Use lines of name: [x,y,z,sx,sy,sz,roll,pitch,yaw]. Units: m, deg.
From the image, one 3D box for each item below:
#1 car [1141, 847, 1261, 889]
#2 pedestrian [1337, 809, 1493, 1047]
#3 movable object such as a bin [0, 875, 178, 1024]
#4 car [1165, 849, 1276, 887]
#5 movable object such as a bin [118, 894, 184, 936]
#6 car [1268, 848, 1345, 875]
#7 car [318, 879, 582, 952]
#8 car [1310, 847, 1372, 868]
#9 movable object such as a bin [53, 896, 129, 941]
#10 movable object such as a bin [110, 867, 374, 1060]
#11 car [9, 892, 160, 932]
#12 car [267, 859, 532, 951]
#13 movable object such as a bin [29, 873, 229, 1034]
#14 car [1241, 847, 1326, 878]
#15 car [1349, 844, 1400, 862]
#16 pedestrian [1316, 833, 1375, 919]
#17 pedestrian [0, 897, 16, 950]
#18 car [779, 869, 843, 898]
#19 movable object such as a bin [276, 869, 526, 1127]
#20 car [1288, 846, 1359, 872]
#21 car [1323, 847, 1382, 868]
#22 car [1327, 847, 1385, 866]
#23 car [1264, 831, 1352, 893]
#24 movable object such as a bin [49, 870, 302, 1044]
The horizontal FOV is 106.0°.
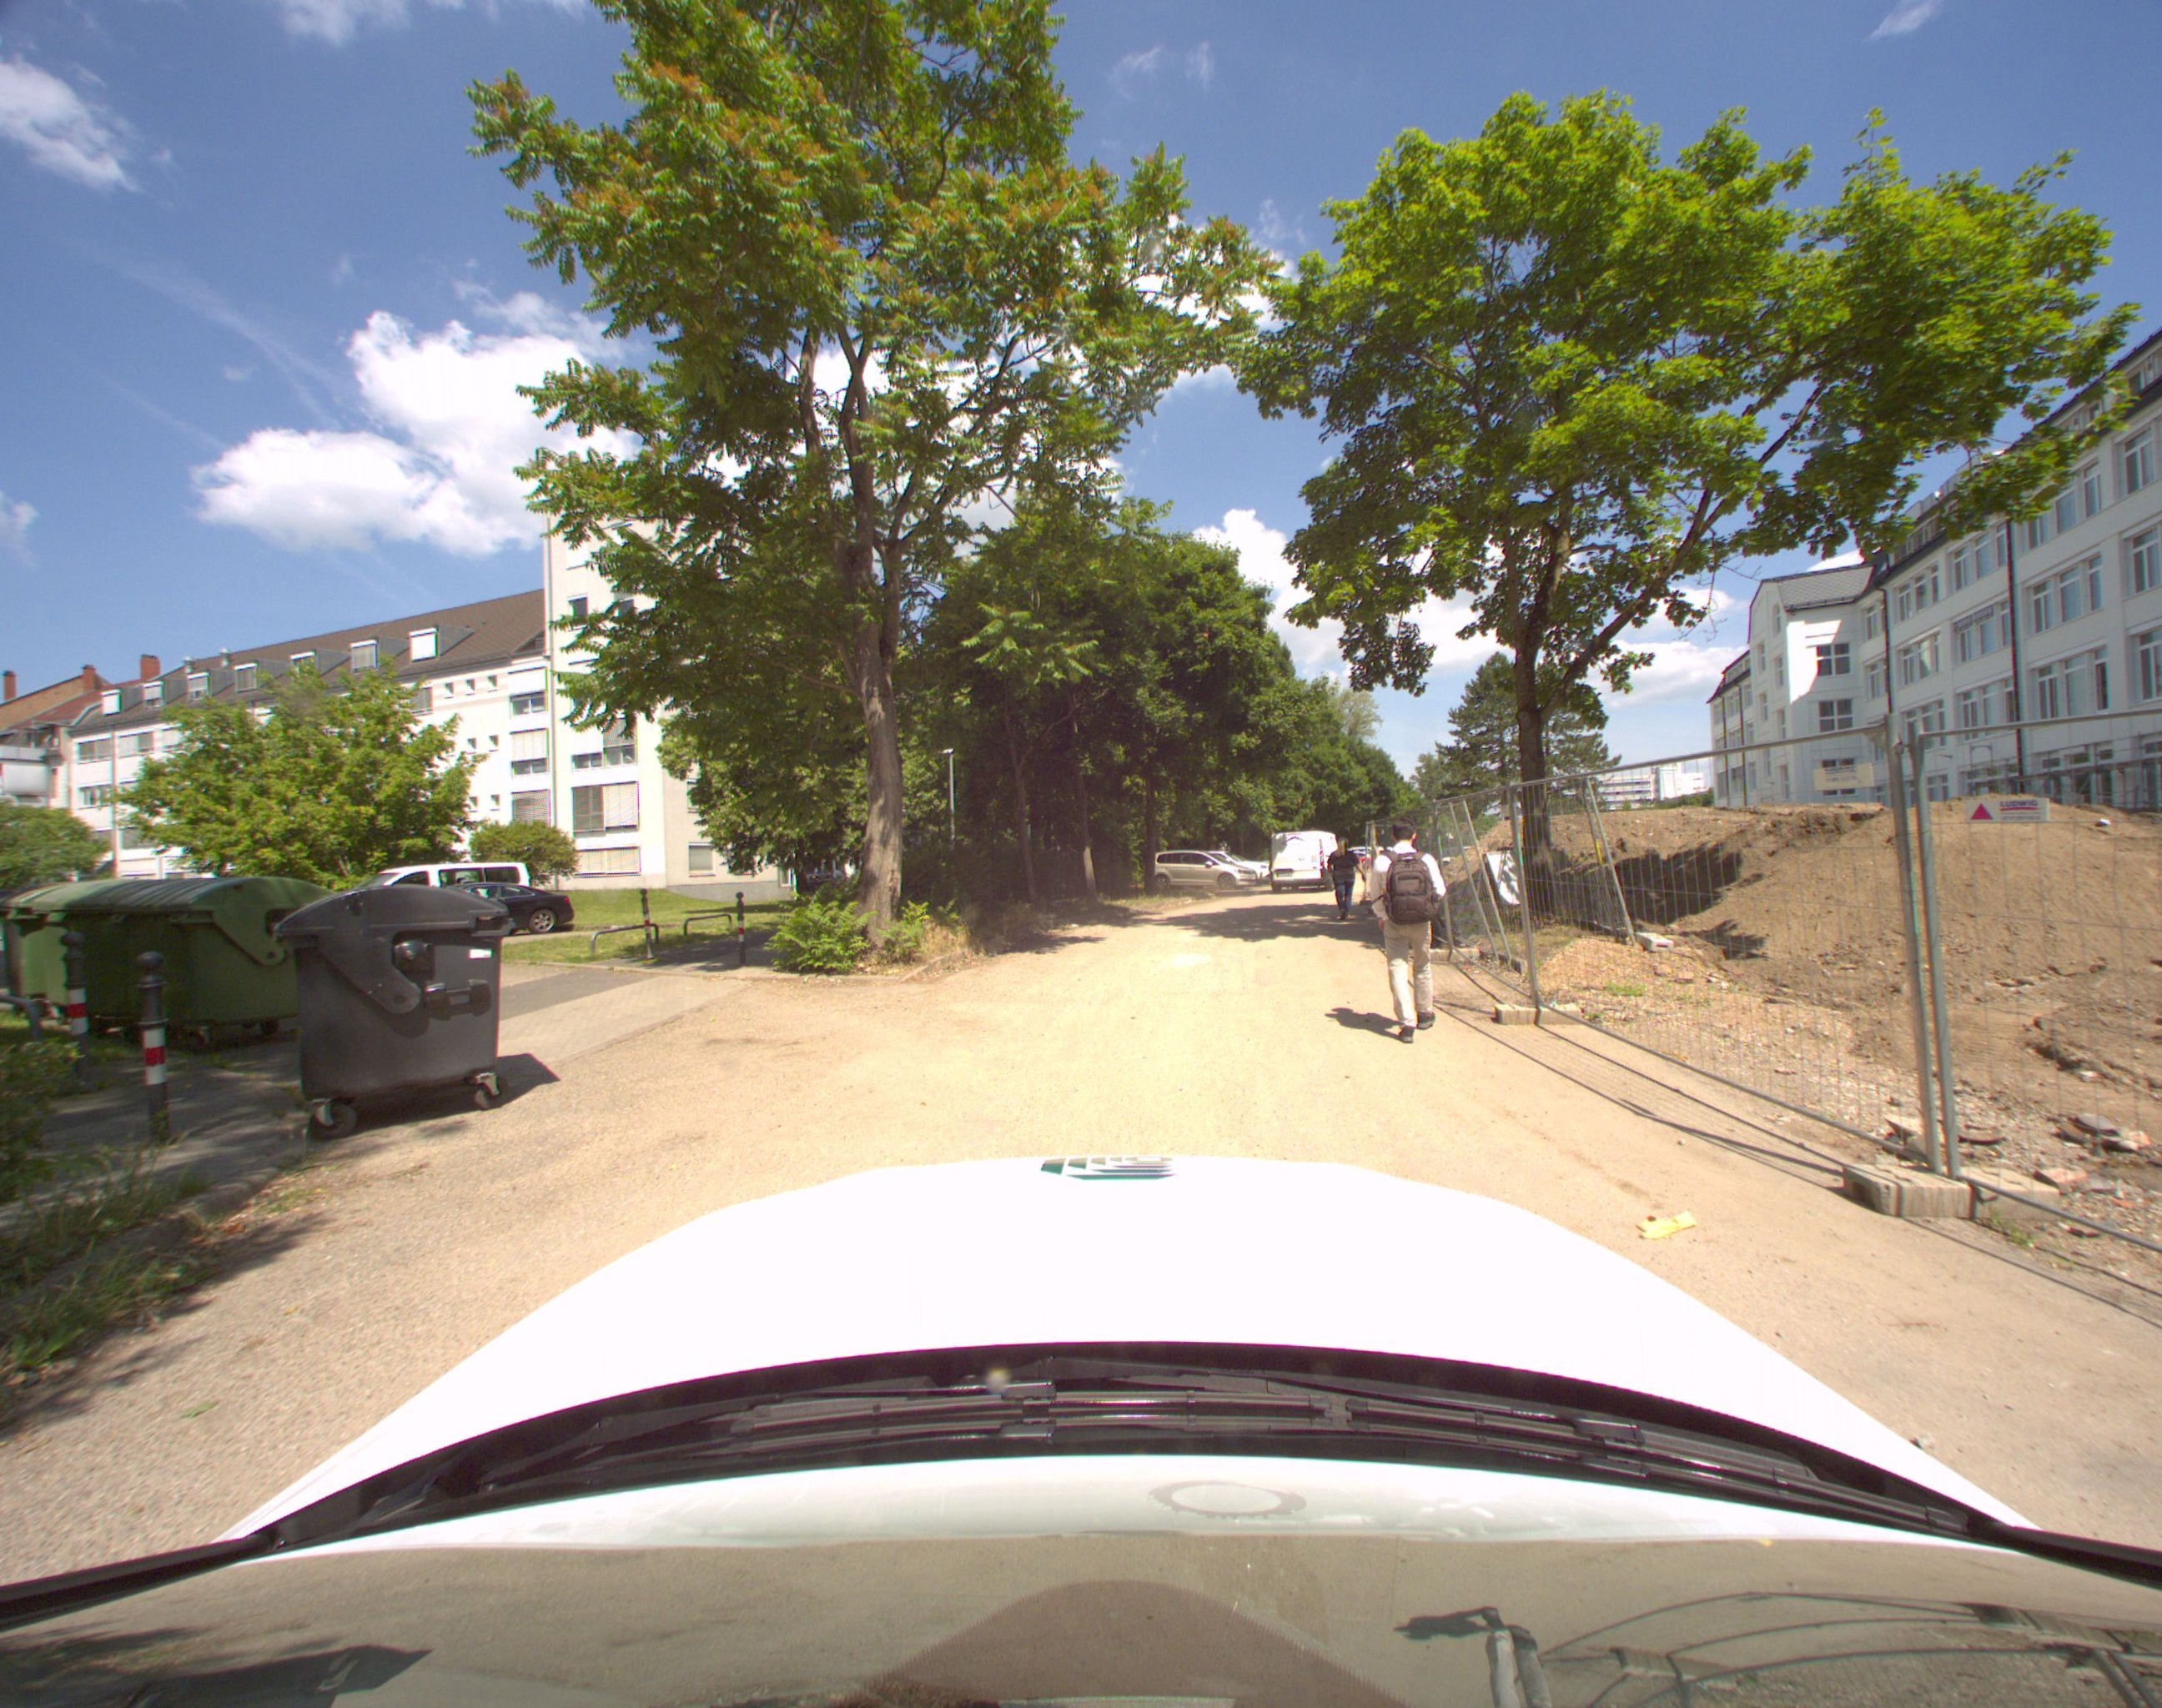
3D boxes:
car: [4.962,0.615,33.666,4.463,1.609,2.012,-2,-3,27]
pedestrian: [2.615,0.544,6.517,0.869,1.729,1.082,-2,0,8]
movable object such as a bin: [-11.146,1.013,9.100,1.392,1.479,1.054,-2,0,27]
car: [6.141,0.609,35.927,4.464,1.531,1.736,-2,0,26]
movable object such as a bin: [-31.300,2.038,27.407,1.145,1.327,1.228,-2,0,29]
car: [14.515,0.474,52.427,4.463,1.598,1.948,-2,0,27]
car: [-14.866,1.375,19.549,1.810,1.352,4.654,-2,0,27]
car: [21.094,0.270,66.089,4.464,1.598,1.736,-2,0,26]
movable object such as a bin: [-31.874,2.068,26.231,1.145,1.327,1.351,-2,0,29]
movable object such as a bin: [-7.405,0.894,7.231,1.309,1.479,1.215,-2,0,24]
car: [-45.634,2.626,37.403,1.782,1.478,4.023,-2,0,25]
car: [-17.280,1.215,20.974,1.975,2.014,4.803,-3,-1,27]
movable object such as a bin: [-9.834,0.971,8.429,1.246,1.479,1.054,-2,0,27]
car: [11.731,0.500,47.302,4.464,1.597,1.736,-2,0,26]
car: [28.669,-0.054,79.557,4.464,1.597,1.736,-2,0,26]
pedestrian: [5.266,0.426,16.288,1.027,1.650,1.053,-2,0,15]
pedestrian: [-36.082,2.322,27.027,0.742,1.755,0.764,-2,-1,28]
car: [-16.731,1.815,50.648,1.652,1.621,3.651,-2,0,27]
movable object such as a bin: [-4.400,0.820,5.335,1.122,1.394,1.147,-2,0,-40]
car: [16.943,0.352,56.951,4.464,1.597,1.736,-2,0,26]
car: [22.750,0.276,68.325,4.464,1.597,1.736,-2,0,26]
car: [23.824,0.221,70.551,4.464,1.547,1.736,-2,0,26]
car: [7.927,0.245,28.101,1.954,1.947,4.608,-2,0,27]
movable object such as a bin: [-8.601,0.932,7.784,1.345,1.479,1.101,-2,0,16]
